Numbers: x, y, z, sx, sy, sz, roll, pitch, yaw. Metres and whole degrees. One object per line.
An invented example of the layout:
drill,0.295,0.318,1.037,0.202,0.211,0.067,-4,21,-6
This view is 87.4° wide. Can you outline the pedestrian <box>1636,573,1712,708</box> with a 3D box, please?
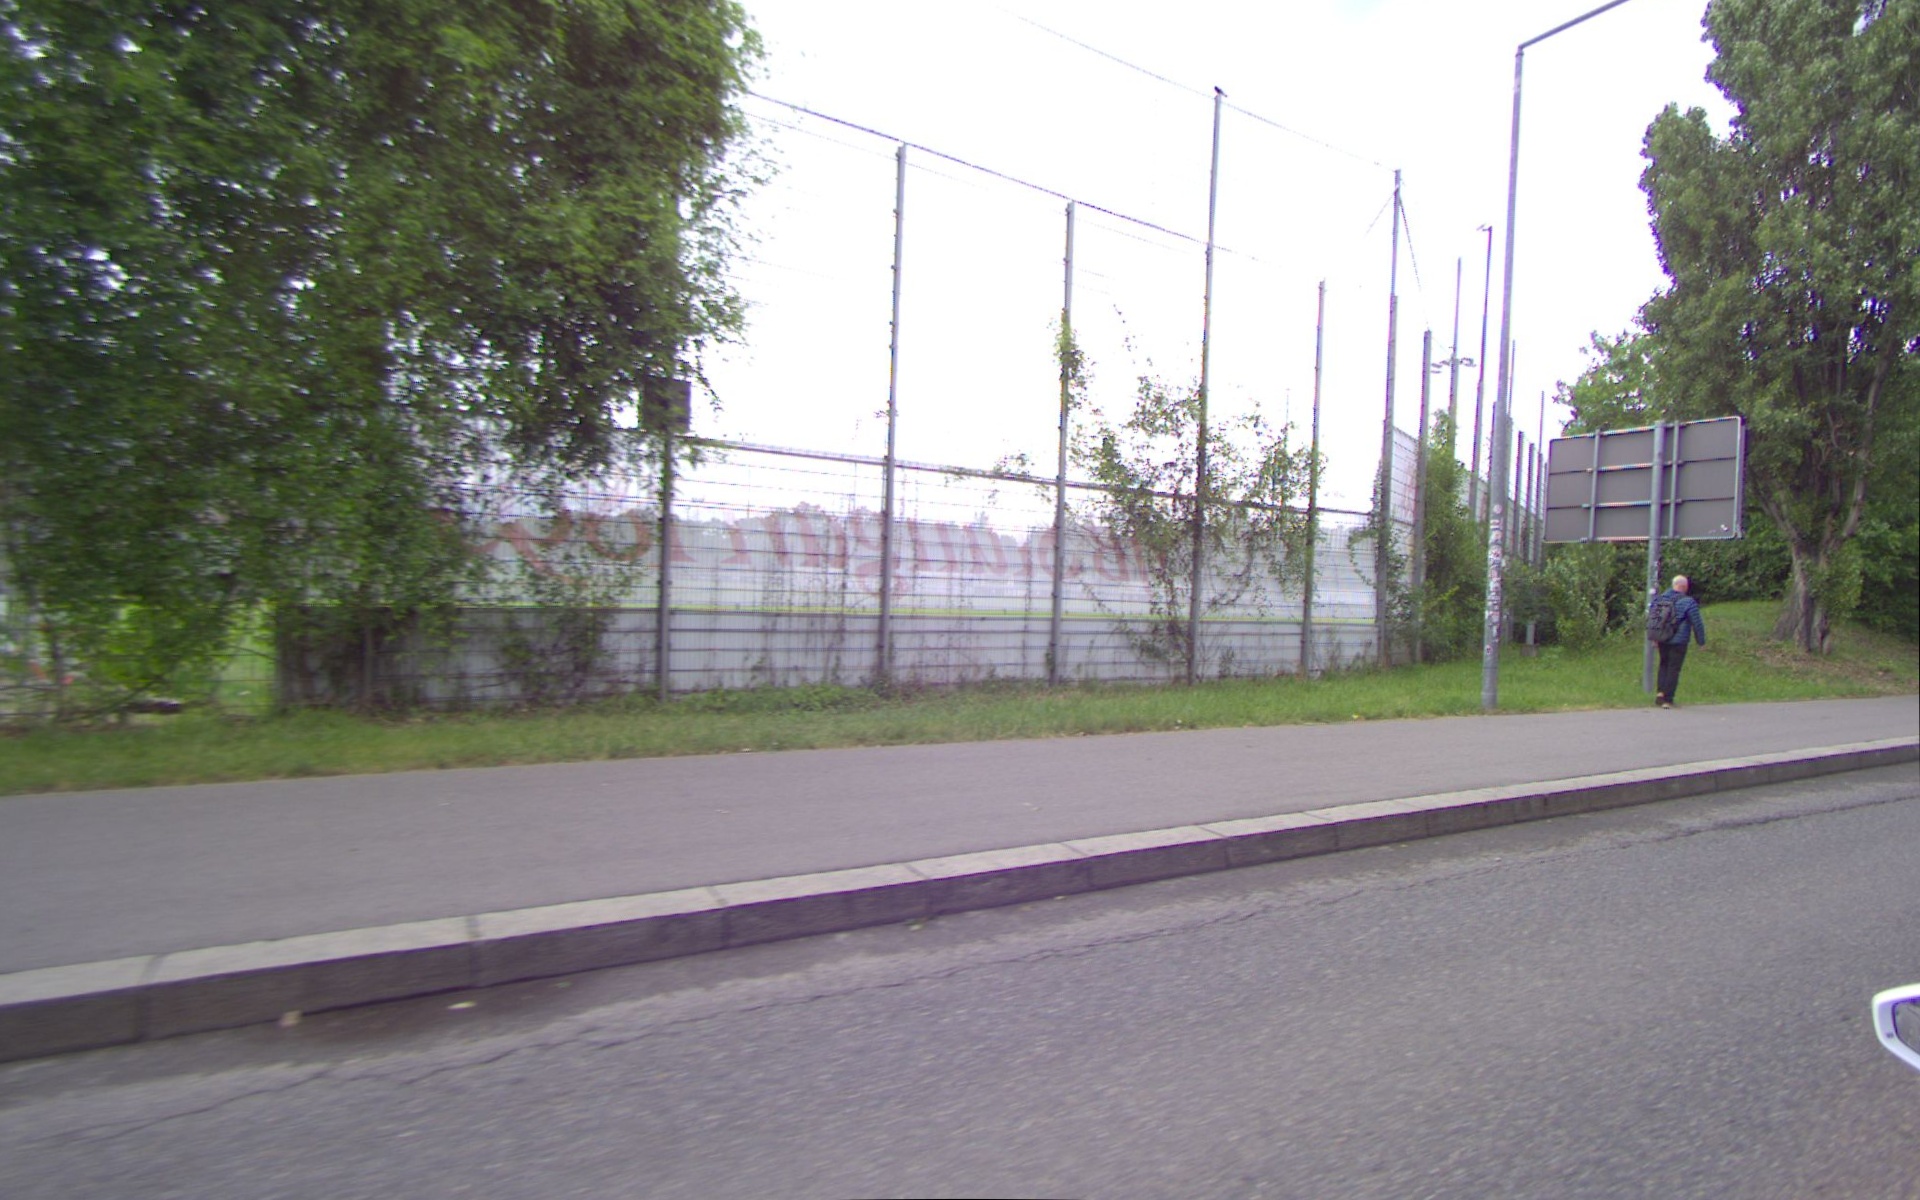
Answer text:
pedestrian,9.985,0.530,14.065,0.793,1.805,0.917,2,2,35
